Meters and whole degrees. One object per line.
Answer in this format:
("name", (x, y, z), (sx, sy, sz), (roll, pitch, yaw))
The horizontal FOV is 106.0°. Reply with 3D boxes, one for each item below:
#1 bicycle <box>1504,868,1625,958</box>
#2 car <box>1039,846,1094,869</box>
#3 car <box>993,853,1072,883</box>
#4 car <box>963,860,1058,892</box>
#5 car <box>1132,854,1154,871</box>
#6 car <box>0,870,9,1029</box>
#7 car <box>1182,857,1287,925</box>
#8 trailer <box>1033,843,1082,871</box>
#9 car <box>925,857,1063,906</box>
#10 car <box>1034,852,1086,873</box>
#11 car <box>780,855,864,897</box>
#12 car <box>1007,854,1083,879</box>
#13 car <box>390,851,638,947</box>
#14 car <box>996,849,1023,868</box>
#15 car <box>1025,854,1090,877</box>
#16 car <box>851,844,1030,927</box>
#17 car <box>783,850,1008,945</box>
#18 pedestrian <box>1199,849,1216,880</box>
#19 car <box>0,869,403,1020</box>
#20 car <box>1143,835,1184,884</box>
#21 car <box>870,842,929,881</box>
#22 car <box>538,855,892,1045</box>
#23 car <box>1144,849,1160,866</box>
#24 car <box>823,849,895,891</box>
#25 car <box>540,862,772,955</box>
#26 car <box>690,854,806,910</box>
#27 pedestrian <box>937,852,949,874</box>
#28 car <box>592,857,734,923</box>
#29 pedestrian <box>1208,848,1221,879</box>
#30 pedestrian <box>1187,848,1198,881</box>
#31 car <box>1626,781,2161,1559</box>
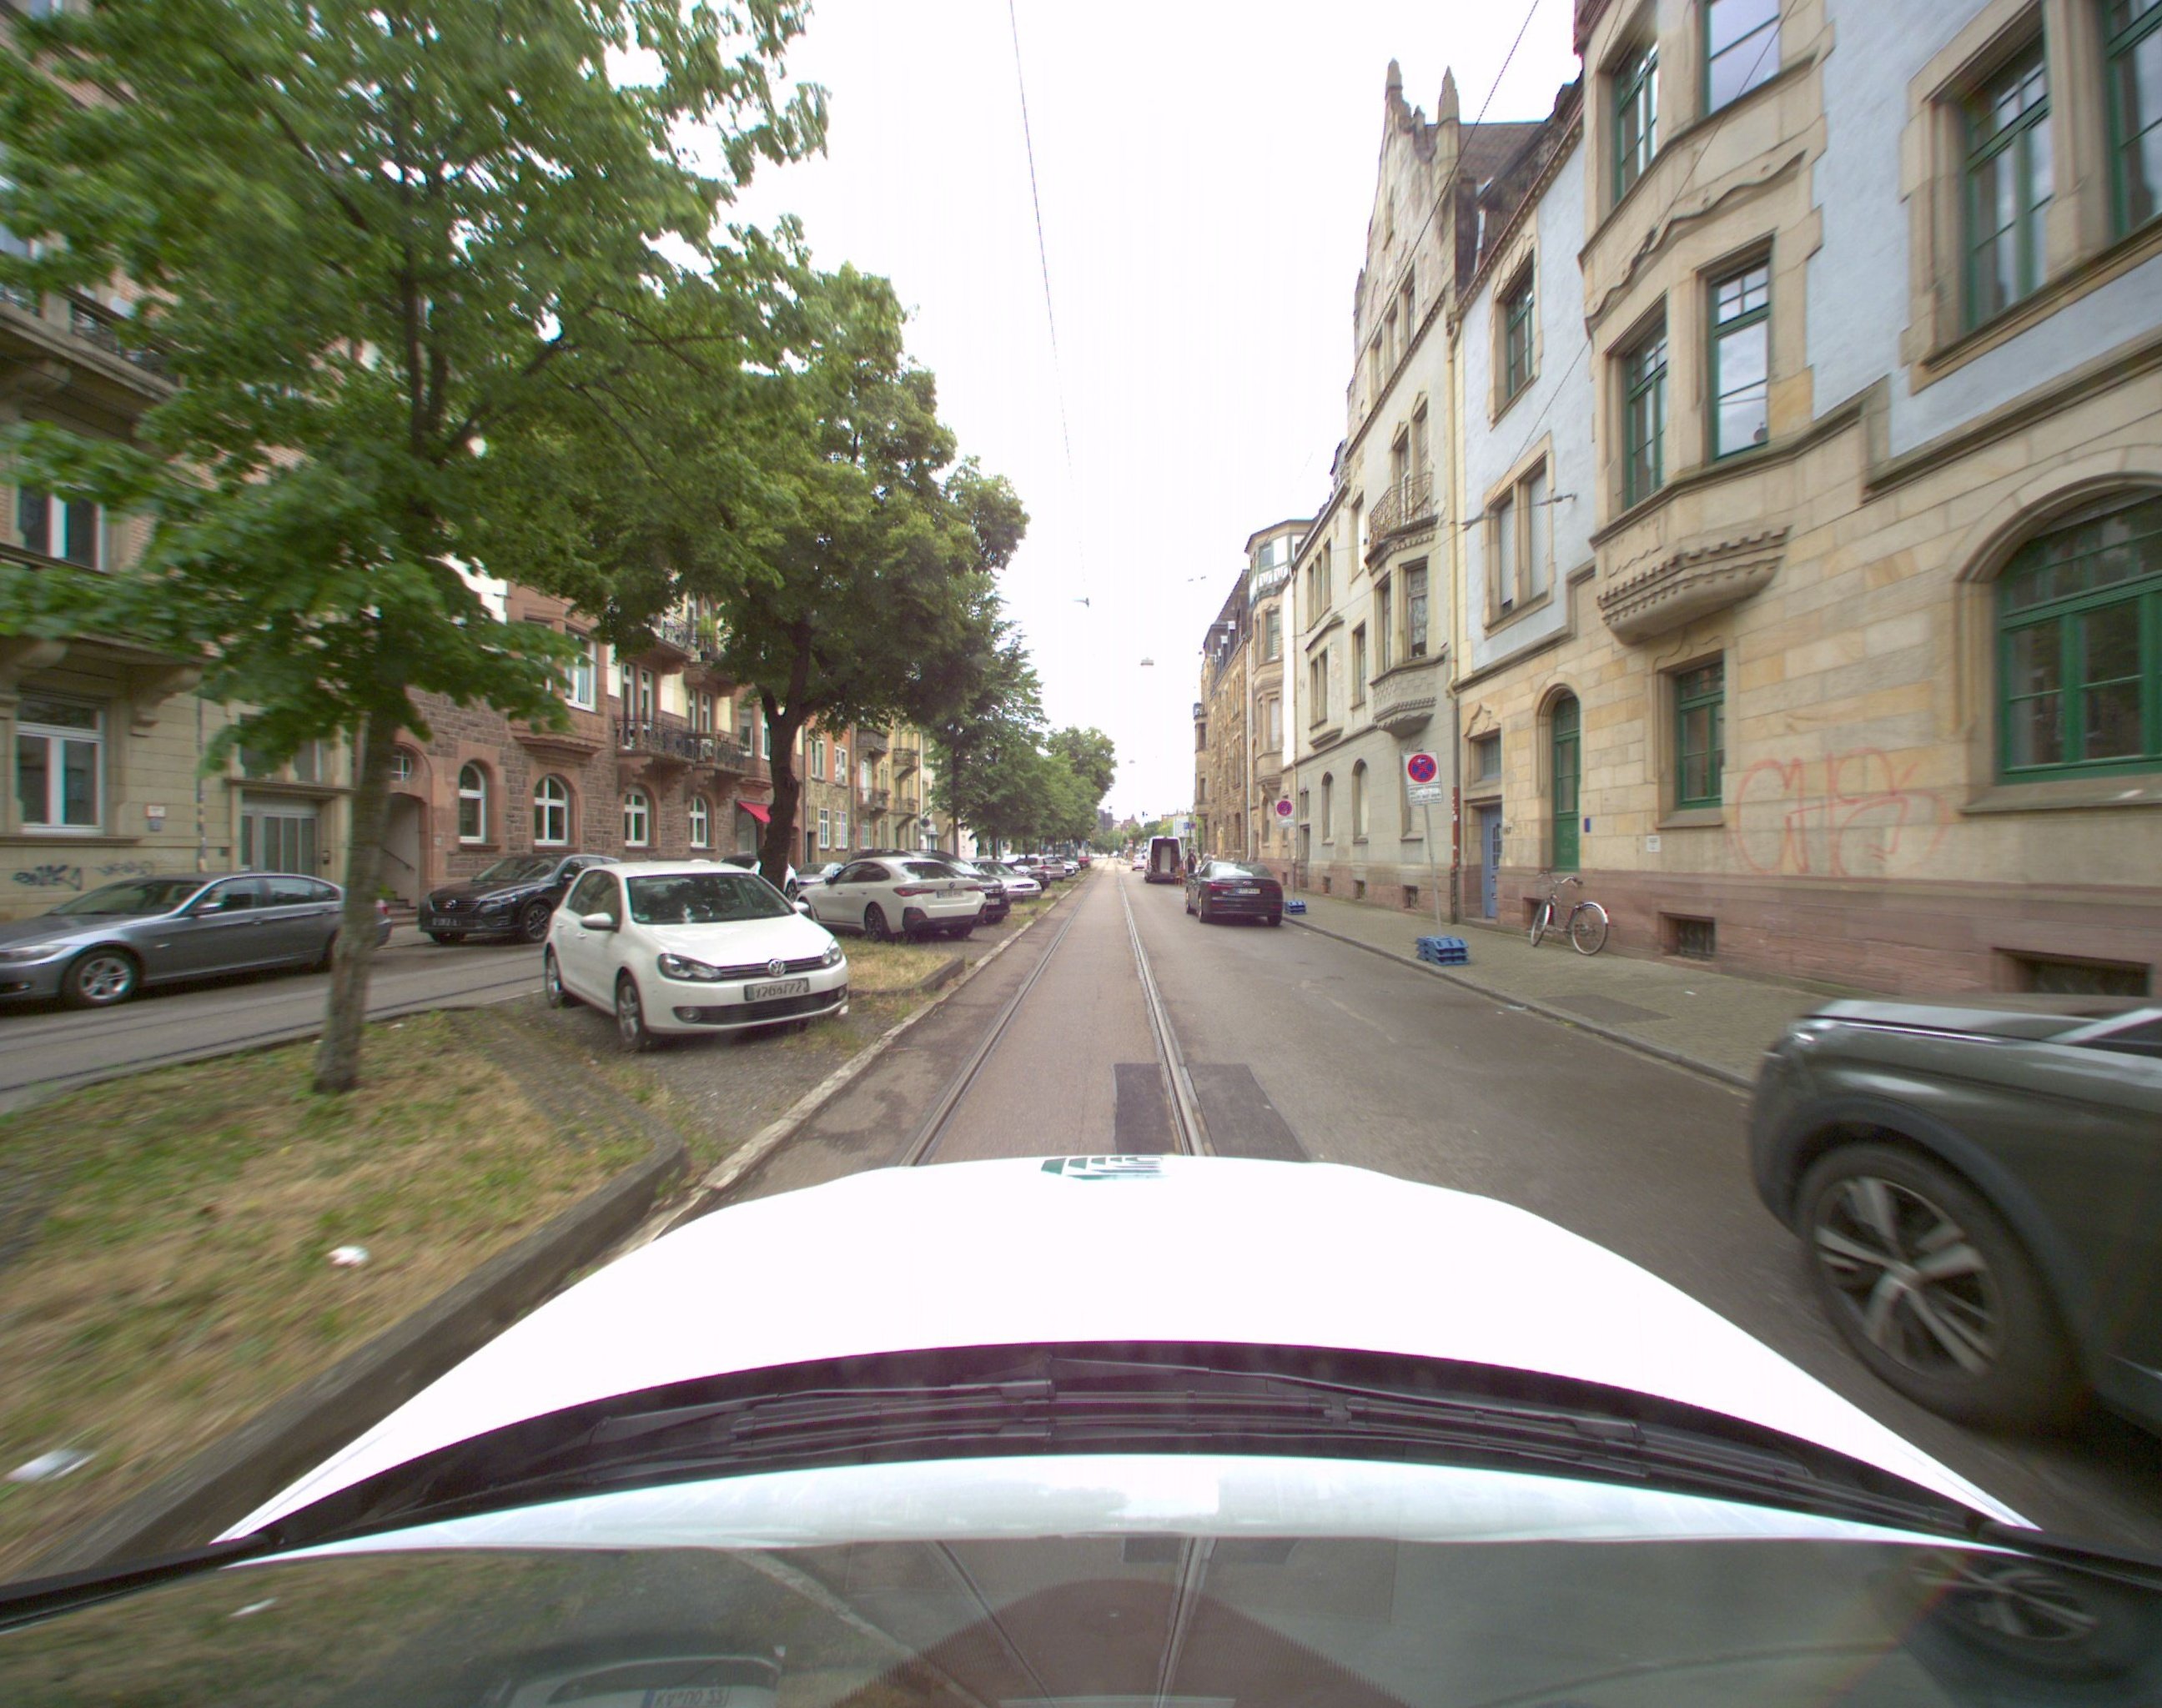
("bicycle", (6.823, 0.789, 11.611), (0.609, 1.126, 1.917), (2, 0, 2))
("car", (-1.274, 0.300, 71.482), (4.707, 1.974, 1.972), (-1, 0, 40))
("car", (-2.586, 0.698, 42.649), (4.066, 1.484, 1.808), (0, 0, 43))
("car", (-2.855, 0.838, 32.394), (1.678, 1.202, 3.914), (0, 0, -44))
("car", (5.657, 0.730, 74.157), (1.773, 1.472, 4.019), (0, 0, 8))
("car", (-11.074, 0.882, 5.494), (1.798, 1.490, 4.389), (0, 0, 1))
("car", (3.627, 0.800, 20.147), (1.794, 1.438, 5.198), (0, 0, 2))
("trailer", (-2.012, 0.262, 68.599), (3.624, 2.344, 1.943), (-1, 0, 35))
("car", (-2.783, 0.785, 25.360), (4.610, 1.368, 1.768), (0, 0, 45))
("car", (-1.604, 0.626, 60.729), (3.815, 1.463, 1.700), (0, 0, 44))
("car", (-10.087, 0.814, 32.124), (1.734, 1.542, 4.555), (0, 0, 1))
("car", (-2.266, 0.749, 50.410), (4.629, 1.435, 1.910), (0, 0, 41))
("car", (-10.838, 0.789, 16.033), (1.762, 1.628, 4.322), (0, 0, 1))
("car", (-6.102, 0.410, 69.823), (1.798, 1.579, 4.548), (0, 0, 1))
("car", (-1.581, 0.766, 54.269), (4.286, 1.435, 1.910), (0, 0, 44))
("car", (-3.278, 0.643, 18.368), (1.775, 1.633, 4.477), (0, -1, -44))
("car", (-3.567, 0.709, 15.119), (2.047, 1.490, 4.486), (0, -1, -44))
("pedestrian", (7.043, 0.600, 45.360), (0.706, 1.700, 0.489), (-3, 0, -26))
("car", (-11.146, 0.928, 10.123), (1.798, 1.438, 4.231), (0, 0, 1))
("car", (4.703, 0.291, 47.360), (2.005, 2.549, 7.022), (1, 0, 3))
("car", (-9.756, 0.412, 44.176), (1.874, 1.952, 5.095), (0, 0, 2))
("car", (-3.715, 0.684, 7.868), (1.874, 1.312, 4.080), (0, 0, -43))
("car", (8.493, 0.392, 97.702), (1.774, 1.962, 4.387), (0, 0, 4))
("car", (-10.121, 0.717, 37.569), (1.807, 1.781, 5.119), (0, 0, 2))
("car", (-7.648, 0.896, 15.279), (1.798, 1.453, 4.654), (0, 0, 1))
("car", (-10.446, 0.827, 25.948), (1.734, 1.626, 4.555), (0, 0, 1))
("pedestrian", (-11.163, 0.734, 65.879), (0.795, 1.766, 0.900), (-1, 0, 1))
("car", (-10.682, 0.863, 21.121), (1.656, 1.560, 3.723), (0, 0, 1))
("pedestrian", (7.552, 0.552, 46.182), (0.507, 1.717, 0.579), (-3, 0, -8))
("pedestrian", (6.295, 0.598, 46.125), (0.497, 1.815, 0.804), (-3, 0, 3))
("car", (3.121, 0.660, 1.052), (1.753, 1.622, 4.695), (0, 0, 1))
